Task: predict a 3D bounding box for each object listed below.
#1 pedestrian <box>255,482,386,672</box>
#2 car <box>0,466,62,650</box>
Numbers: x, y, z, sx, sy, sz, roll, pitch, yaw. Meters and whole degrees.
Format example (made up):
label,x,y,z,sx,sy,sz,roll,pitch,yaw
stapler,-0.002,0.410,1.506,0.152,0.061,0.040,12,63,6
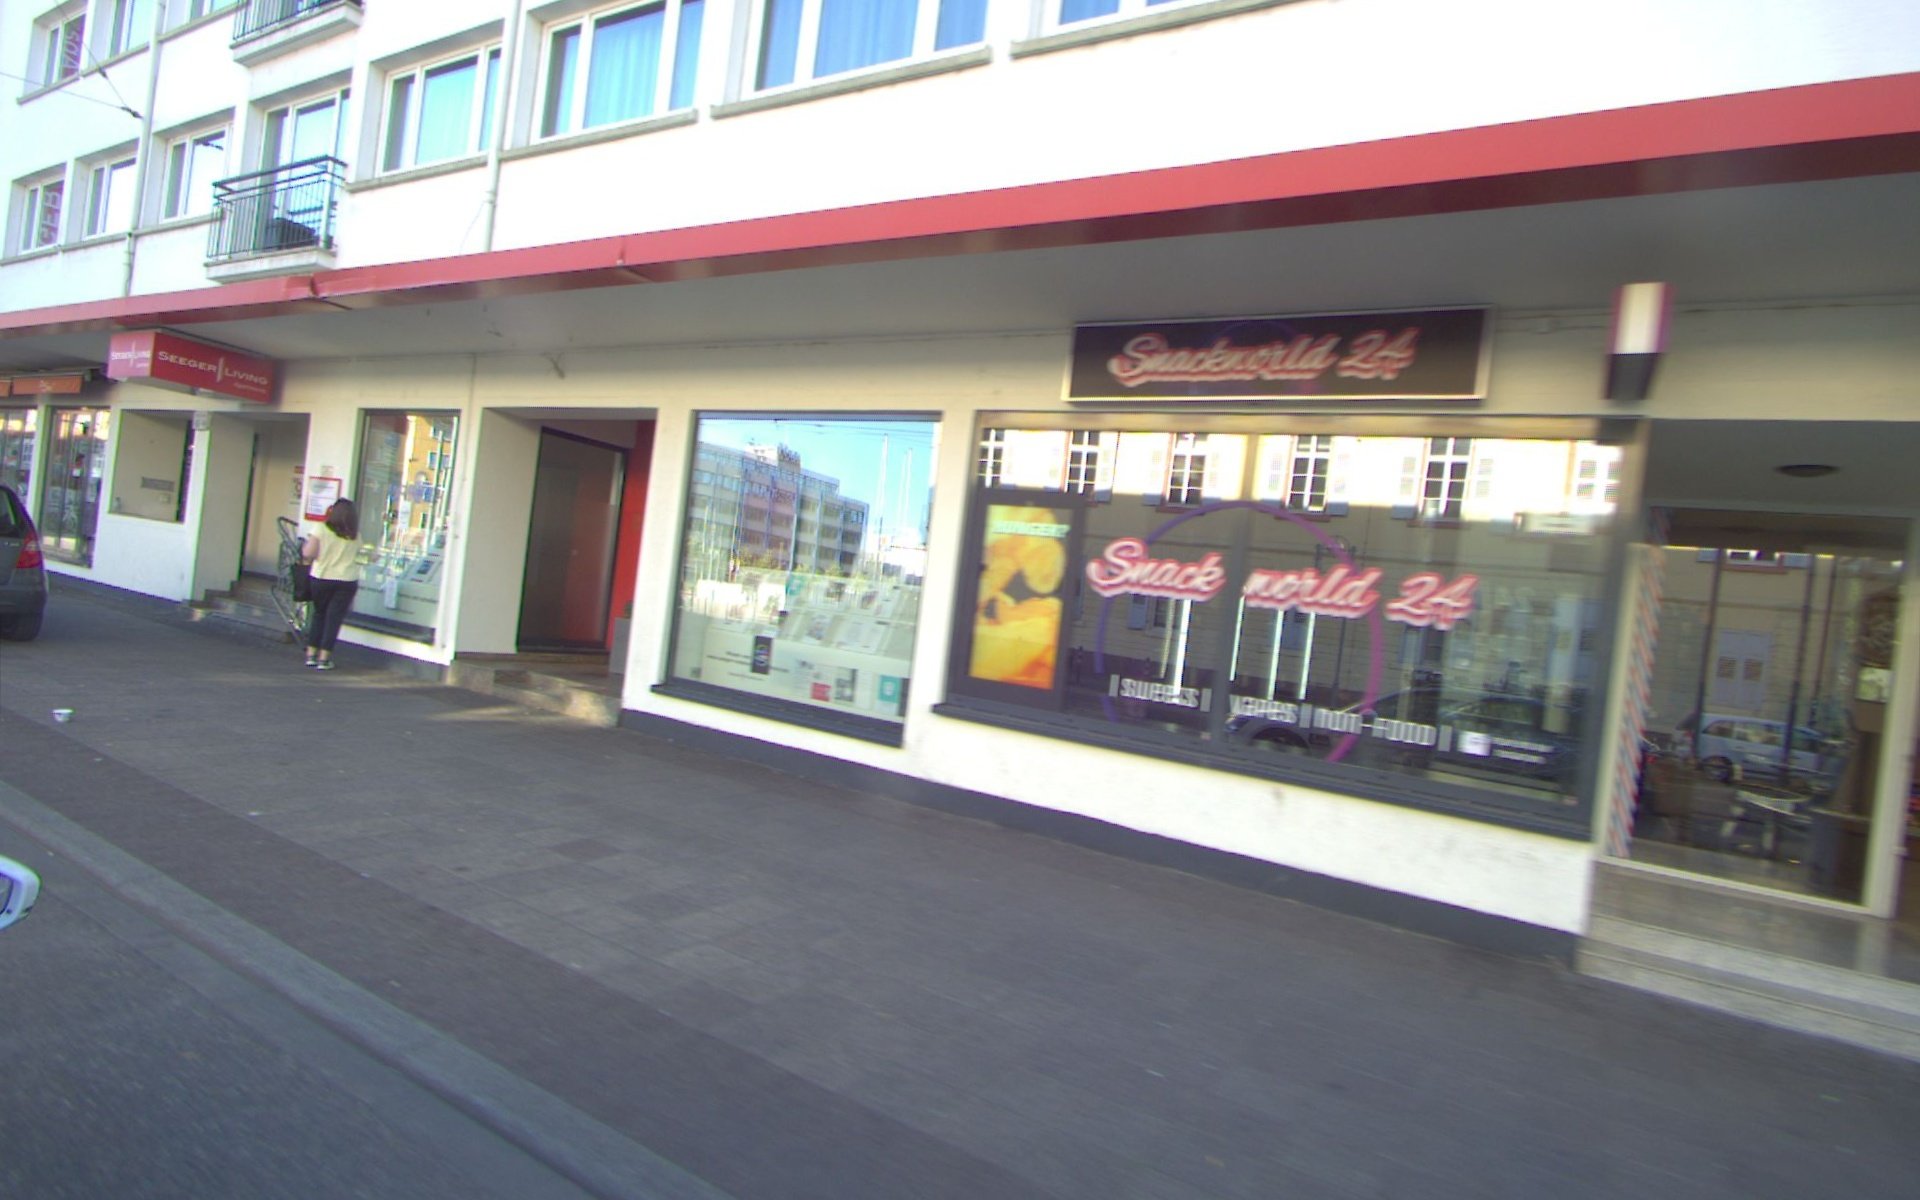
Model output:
label,x,y,z,sx,sy,sz,roll,pitch,yaw
pedestrian,-6.552,-0.234,10.302,0.801,1.796,0.921,7,0,-45
car,-10.432,-0.602,9.614,3.588,1.652,1.747,7,1,32
